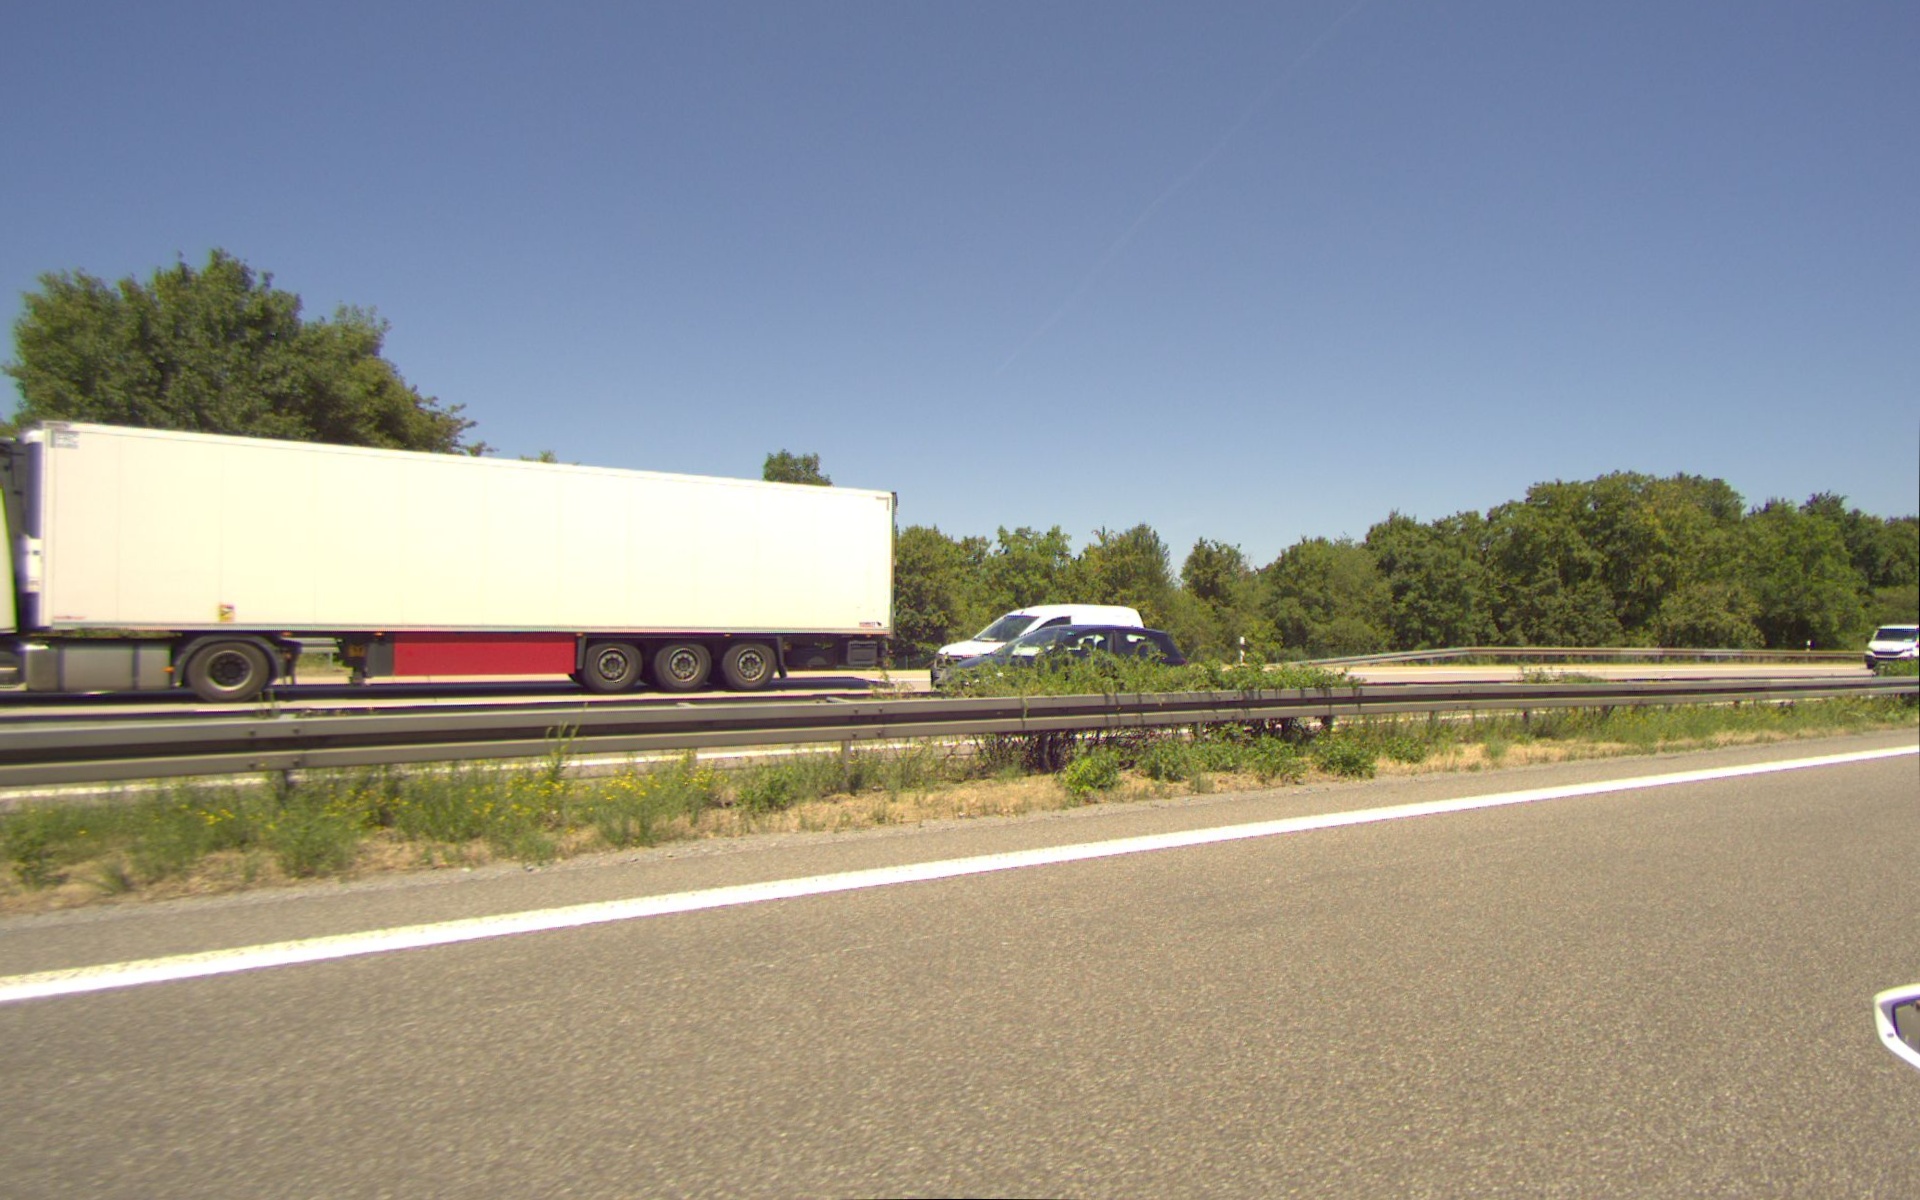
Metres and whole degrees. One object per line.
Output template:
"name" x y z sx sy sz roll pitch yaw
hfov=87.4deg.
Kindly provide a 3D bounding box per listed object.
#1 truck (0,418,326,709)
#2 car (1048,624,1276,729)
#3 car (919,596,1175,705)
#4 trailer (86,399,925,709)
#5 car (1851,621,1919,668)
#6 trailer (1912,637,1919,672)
"truck" -13.532 -0.487 15.507 6.028 4.004 3.246 2 0 -30
"car" 3.155 1.124 15.524 3.415 1.446 1.367 2 -1 -30
"car" 1.760 0.949 19.585 4.823 1.901 1.806 2 -1 -31
"trailer" -7.374 -0.484 19.109 13.427 4.420 3.296 2 -1 -30
"car" 47.949 2.249 50.888 6.462 2.201 2.234 2 -1 -30
"trailer" 53.642 2.953 54.195 4.930 1.860 2.019 2 -1 -30
